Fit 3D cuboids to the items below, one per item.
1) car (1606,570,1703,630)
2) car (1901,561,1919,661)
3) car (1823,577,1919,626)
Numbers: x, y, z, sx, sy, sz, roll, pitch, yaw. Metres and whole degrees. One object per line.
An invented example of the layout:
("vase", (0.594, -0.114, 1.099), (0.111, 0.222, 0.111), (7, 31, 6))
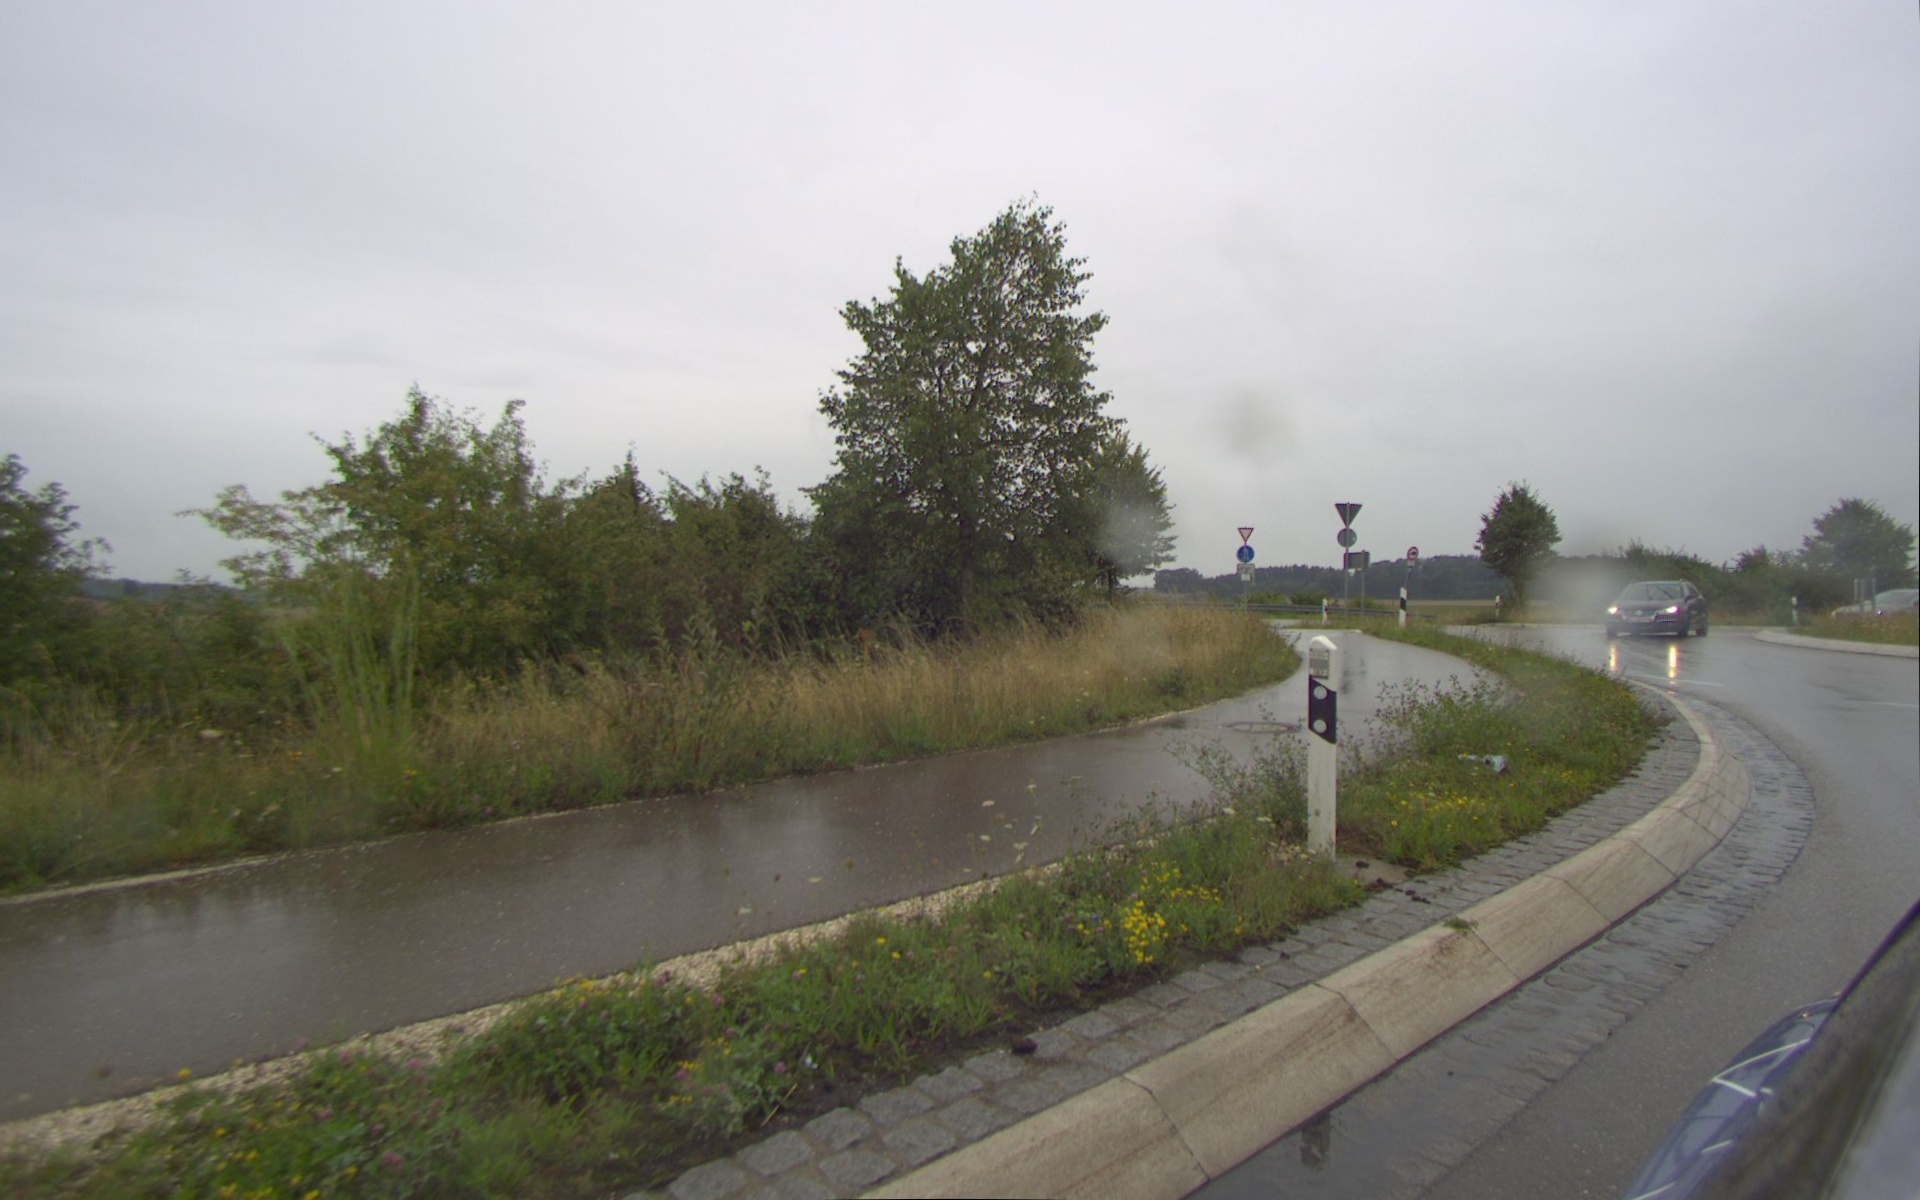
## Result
("car", (18.327, 0.015, 26.740), (1.938, 1.388, 4.447), (3, 1, 35))
("car", (15.102, 0.205, 12.767), (1.835, 1.439, 4.511), (1, 1, -10))
("car", (29.579, 0.081, 31.754), (4.408, 1.439, 1.768), (2, 0, -19))
